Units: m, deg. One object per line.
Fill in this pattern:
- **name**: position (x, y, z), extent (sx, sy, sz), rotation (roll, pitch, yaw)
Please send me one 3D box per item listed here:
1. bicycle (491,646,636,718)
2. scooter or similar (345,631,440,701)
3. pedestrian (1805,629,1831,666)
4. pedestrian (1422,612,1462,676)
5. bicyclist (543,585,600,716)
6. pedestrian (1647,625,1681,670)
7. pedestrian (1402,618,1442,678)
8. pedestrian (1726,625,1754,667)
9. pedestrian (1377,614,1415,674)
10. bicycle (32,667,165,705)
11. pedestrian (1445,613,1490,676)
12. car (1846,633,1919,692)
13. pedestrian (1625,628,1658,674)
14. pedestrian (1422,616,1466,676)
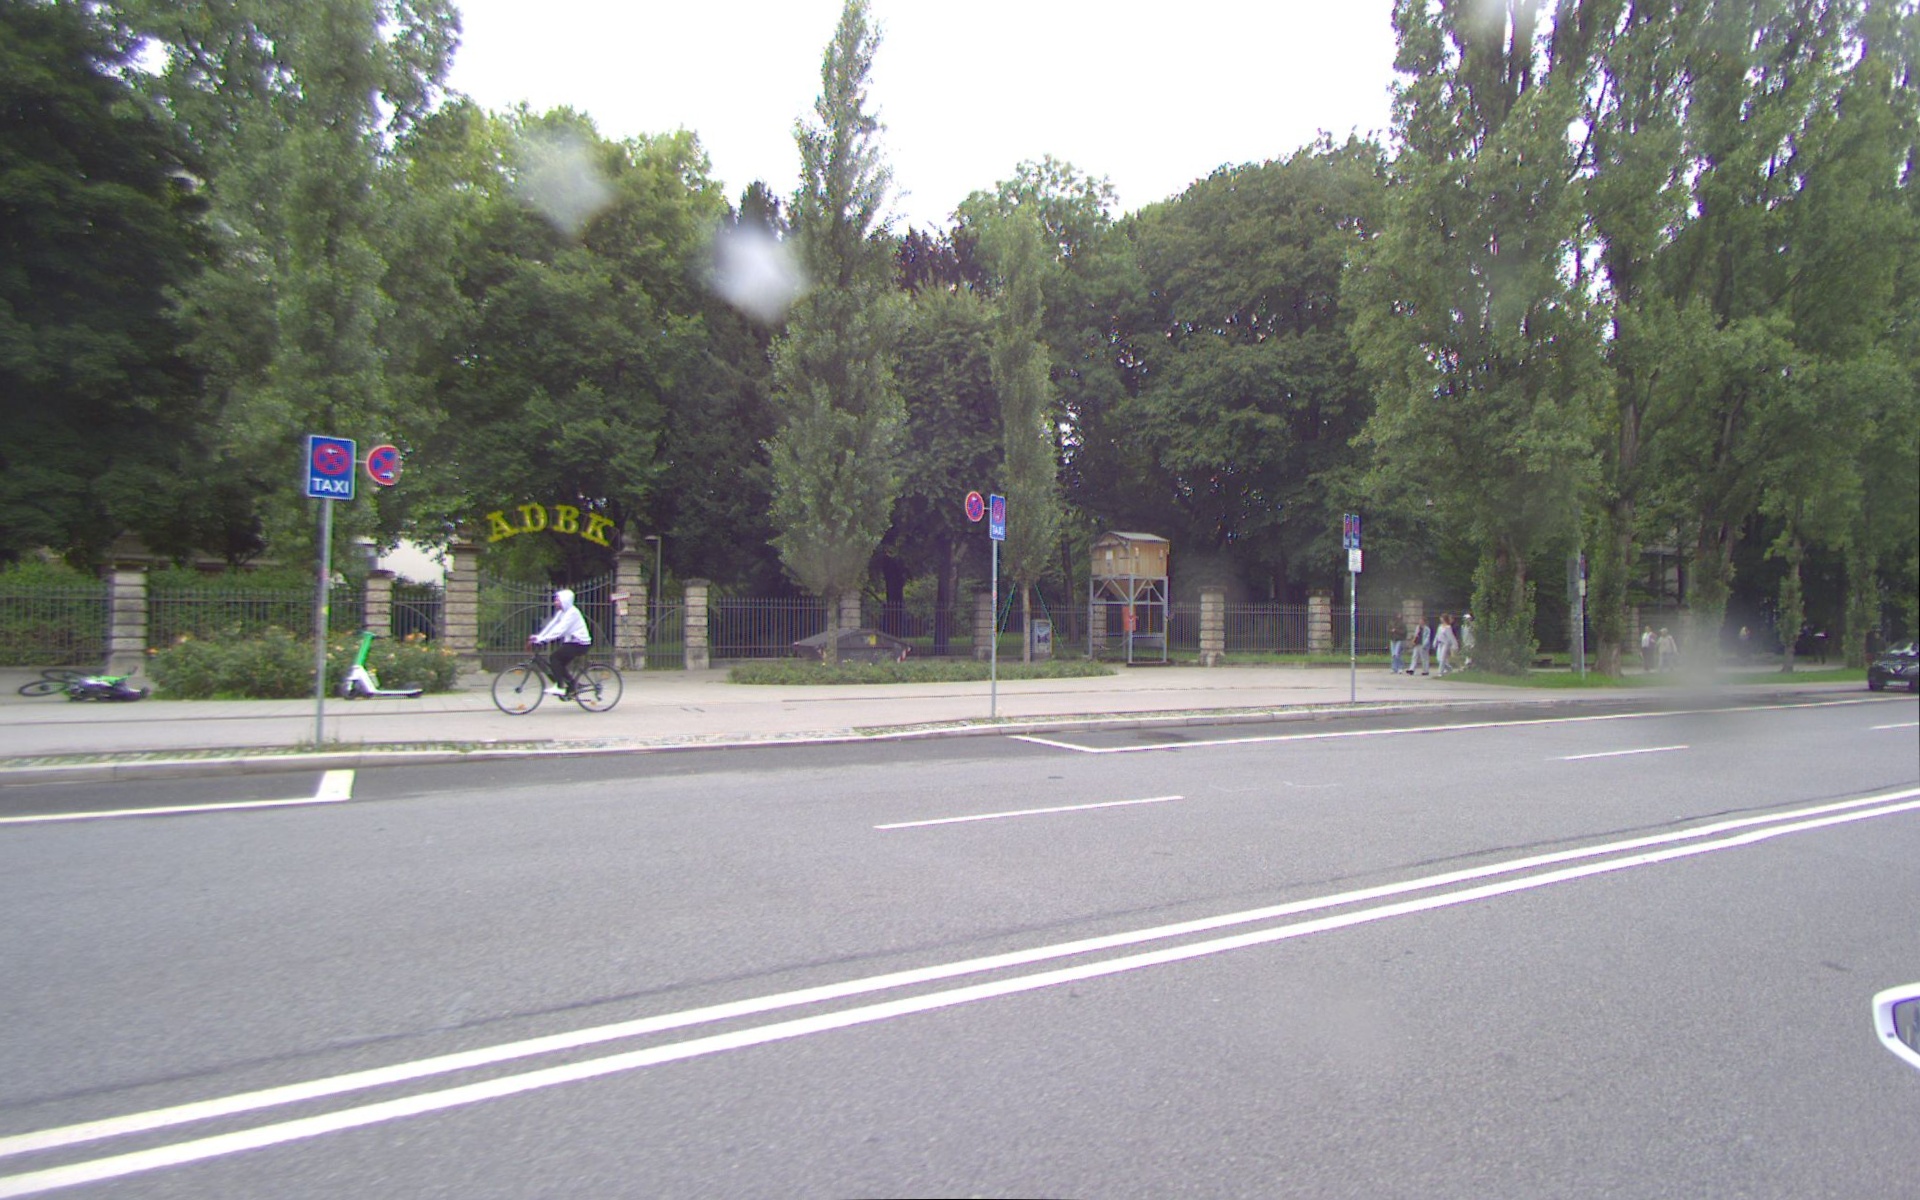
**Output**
- **bicycle**: position (-5.702, 1.162, 14.509), extent (1.891, 0.965, 0.467), rotation (1, 0, -31)
- **scooter or similar**: position (-10.021, 1.145, 17.734), extent (1.402, 1.194, 0.740), rotation (1, -3, -34)
- **pedestrian**: position (41.205, 2.292, 48.264), extent (0.945, 1.764, 0.663), rotation (1, -1, -29)
- **pedestrian**: position (13.666, 1.236, 28.492), extent (0.897, 1.770, 0.627), rotation (1, -1, -30)
- **bicyclist**: position (-5.629, 0.716, 14.538), extent (0.653, 1.847, 0.586), rotation (1, 0, -31)
- **pedestrian**: position (24.958, 1.689, 35.600), extent (0.865, 1.569, 0.714), rotation (1, -1, -30)
- **pedestrian**: position (13.475, 1.390, 29.303), extent (0.875, 1.722, 0.684), rotation (1, -1, -30)
- **pedestrian**: position (33.960, 1.996, 43.734), extent (0.945, 1.764, 0.663), rotation (1, -1, -29)
- **pedestrian**: position (12.955, 1.306, 29.844), extent (0.900, 1.739, 0.656), rotation (1, -1, -30)
- **bicycle**: position (-14.545, 1.428, 16.952), extent (2.183, 0.459, 1.336), rotation (0, -1, 39)
- **pedestrian**: position (15.312, 1.338, 30.311), extent (1.080, 1.858, 0.706), rotation (2, 0, -30)
- **car**: position (28.157, 1.807, 29.417), extent (4.335, 1.604, 1.937), rotation (1, -3, -29)
- **pedestrian**: position (24.598, 1.829, 36.240), extent (0.803, 1.626, 0.714), rotation (1, -1, -30)
- **pedestrian**: position (14.928, 1.411, 30.979), extent (1.080, 1.796, 0.706), rotation (2, 0, -30)
